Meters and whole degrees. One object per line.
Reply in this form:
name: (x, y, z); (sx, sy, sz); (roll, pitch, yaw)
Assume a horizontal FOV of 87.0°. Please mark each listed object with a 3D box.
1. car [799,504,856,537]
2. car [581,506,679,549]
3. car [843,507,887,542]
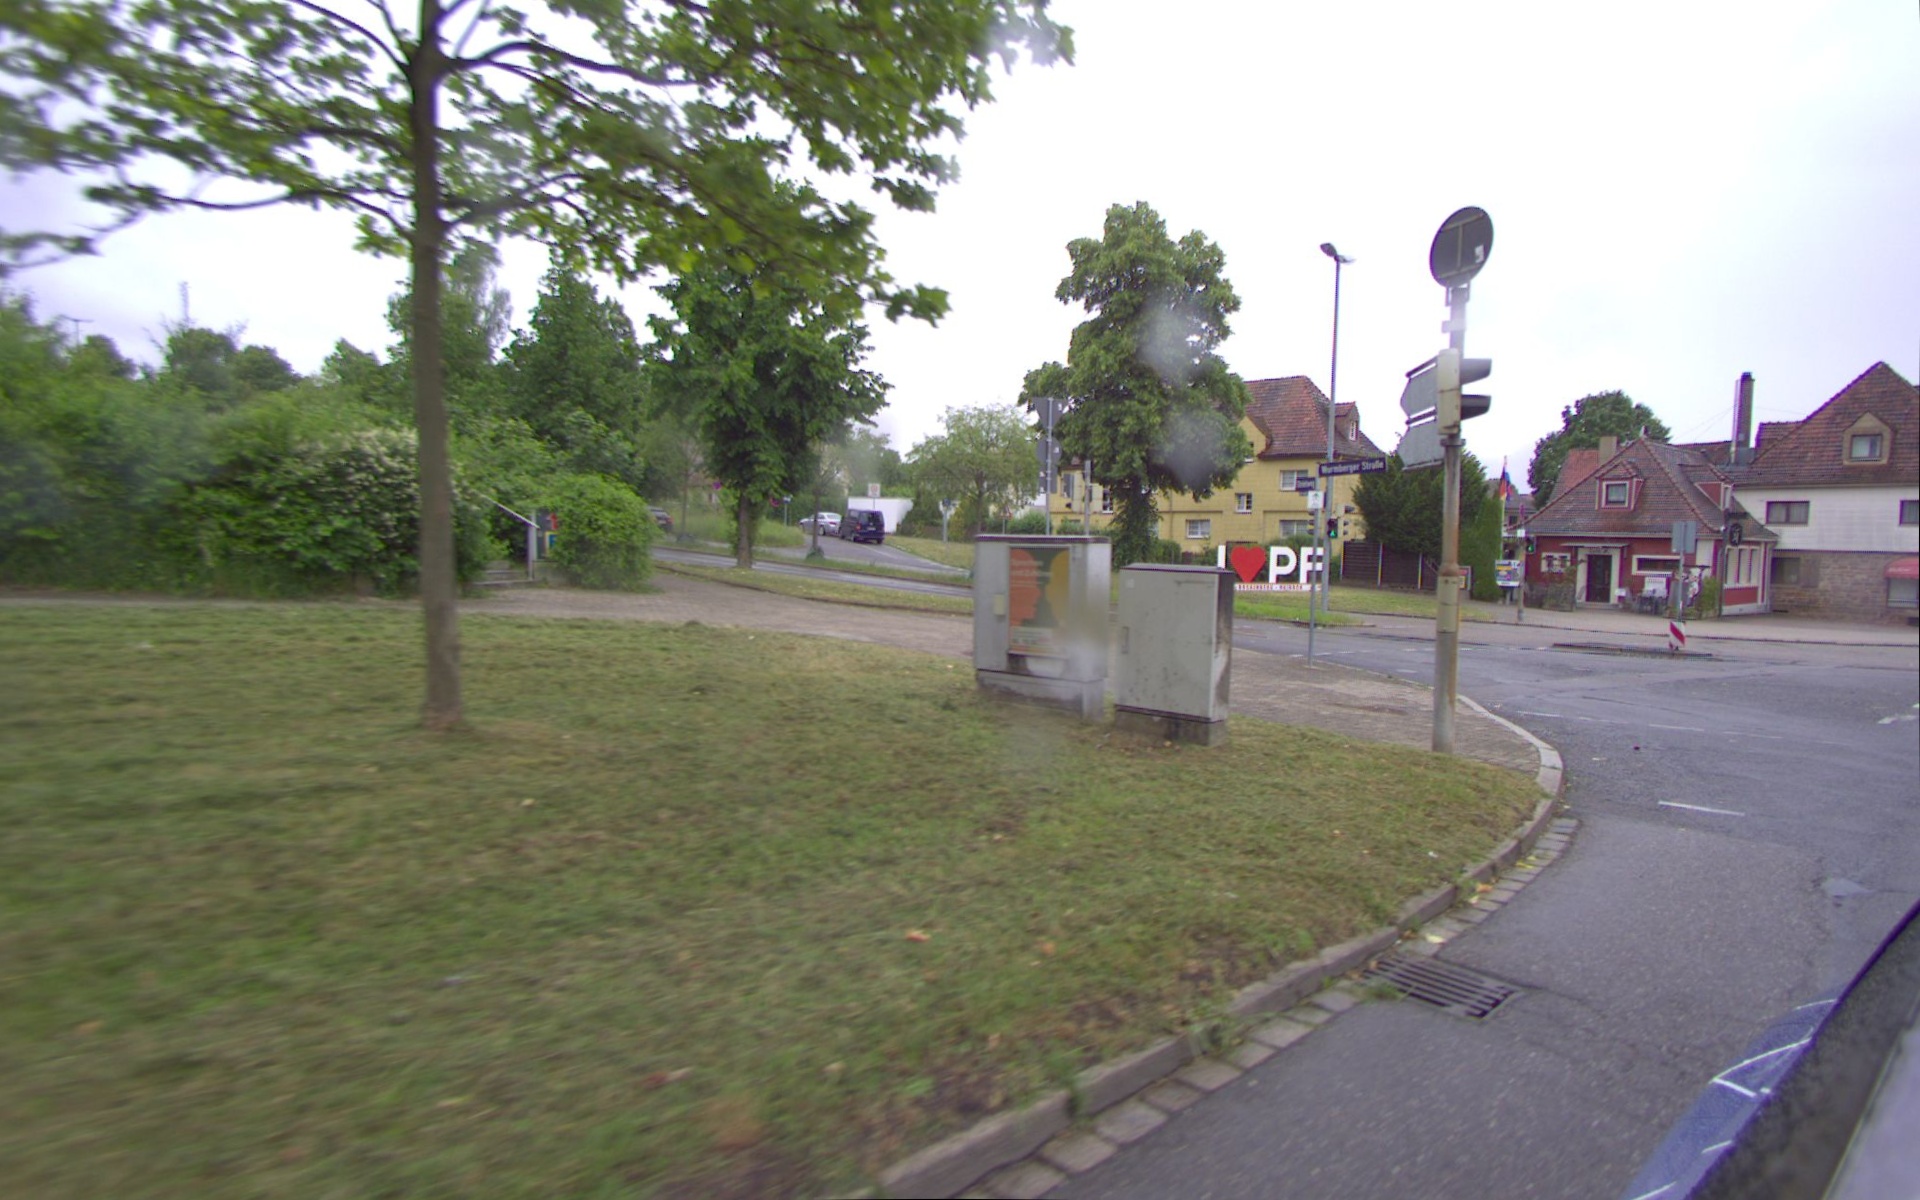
car: (-8.741, -5.246, 66.416); (1.962, 1.960, 4.277); (1, 4, -35)
car: (-16.264, -3.582, 49.821); (4.546, 1.878, 1.981); (5, 3, 28)
car: (-5.808, -4.568, 61.429); (1.958, 1.960, 4.285); (2, 3, -15)
